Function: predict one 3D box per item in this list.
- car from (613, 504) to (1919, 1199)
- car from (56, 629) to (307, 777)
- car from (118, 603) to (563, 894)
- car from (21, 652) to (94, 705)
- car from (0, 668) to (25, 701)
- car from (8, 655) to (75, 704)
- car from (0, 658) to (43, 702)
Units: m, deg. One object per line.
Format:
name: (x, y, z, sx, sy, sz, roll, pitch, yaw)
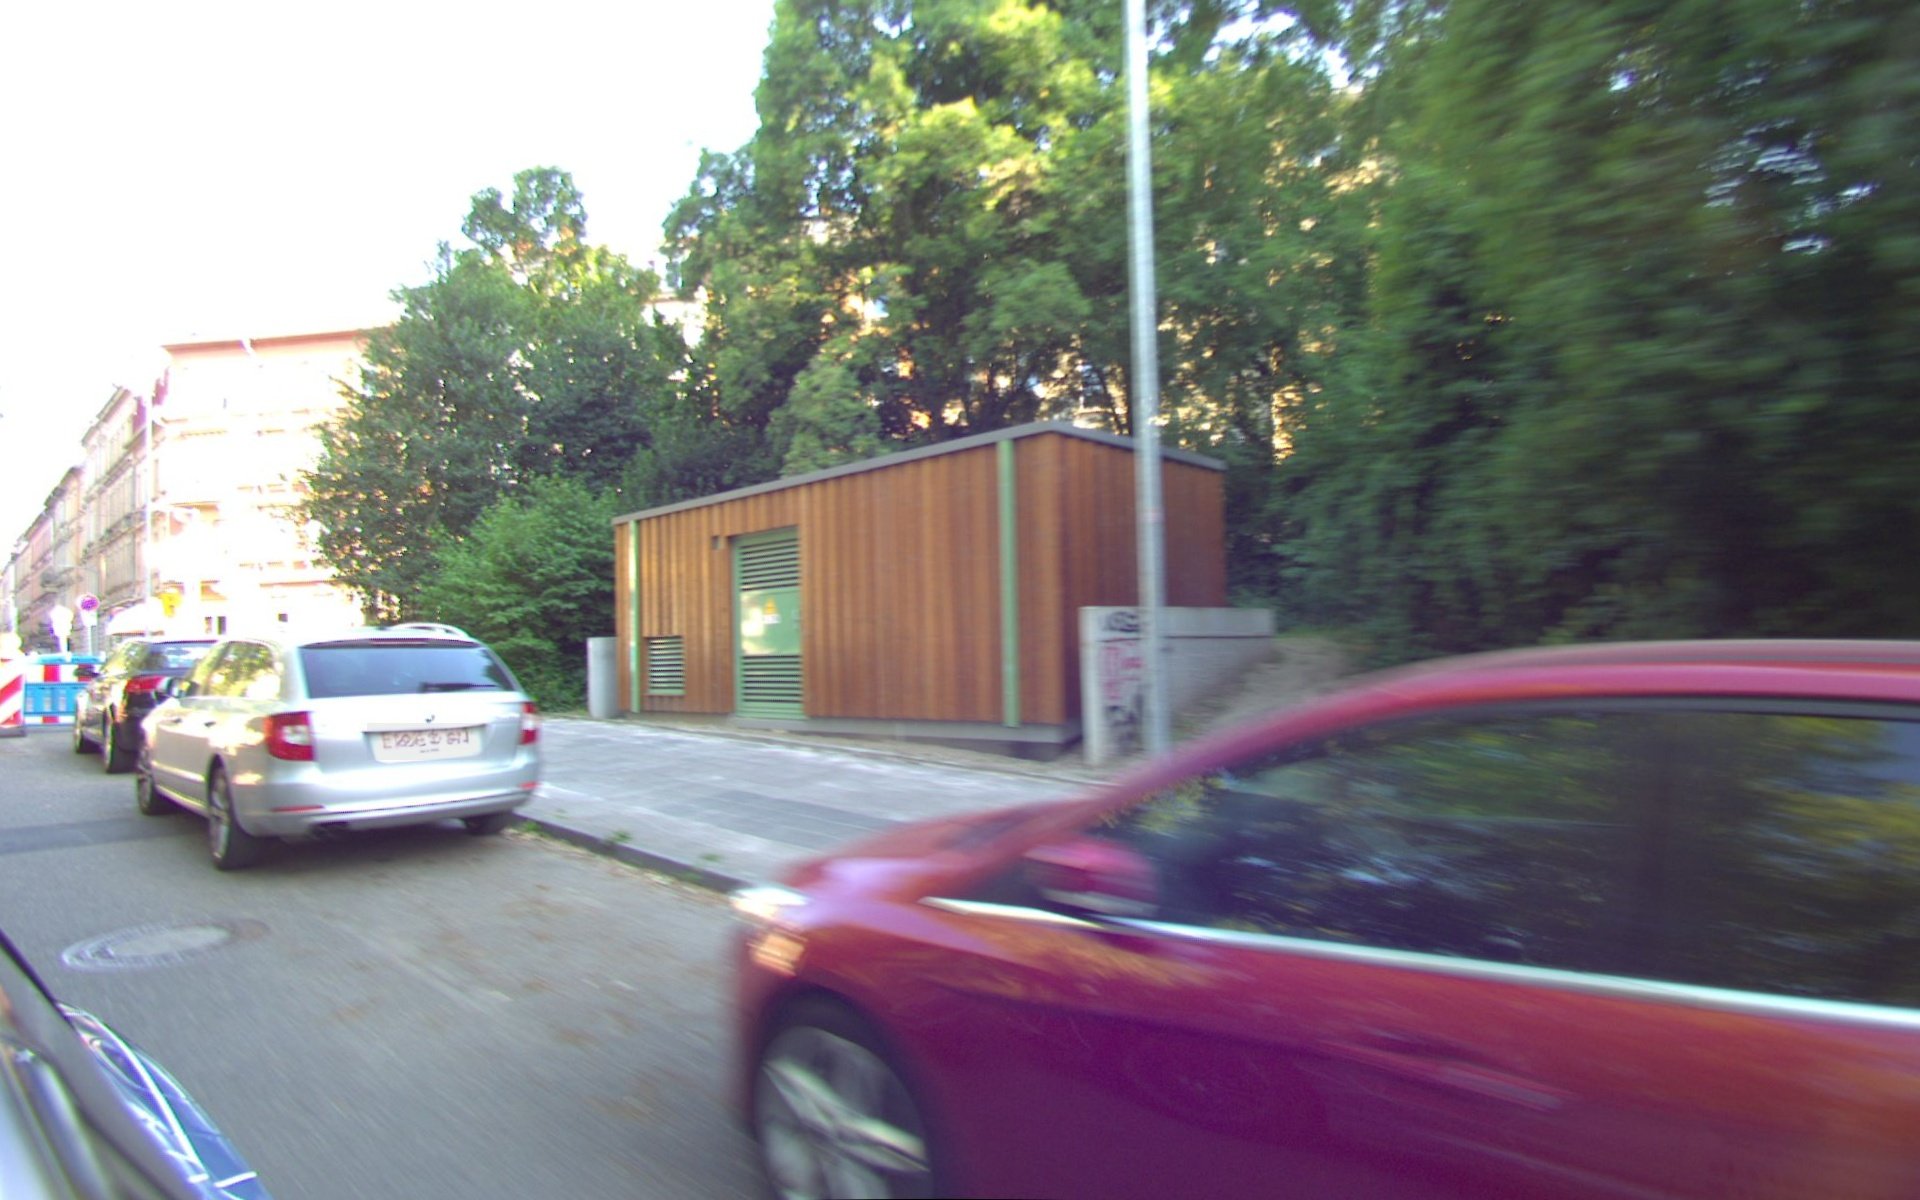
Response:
car: (1.205, 0.702, 2.053, 4.226, 1.519, 1.682, -2, -4, 41)
car: (-9.160, 1.077, 11.771, 4.195, 1.410, 1.680, -2, -4, 44)
car: (-4.775, 0.864, 7.460, 4.551, 1.509, 1.680, -2, -4, 44)
car: (-33.852, 2.899, 37.916, 4.195, 1.818, 1.680, -2, -4, 44)
car: (-55.491, 4.850, 58.615, 4.195, 1.764, 1.680, -2, -4, 44)
car: (-37.391, 3.183, 41.152, 4.195, 1.854, 1.680, -2, -4, 44)
car: (-48.179, 4.030, 51.672, 4.195, 2.132, 1.680, -2, -4, 44)
